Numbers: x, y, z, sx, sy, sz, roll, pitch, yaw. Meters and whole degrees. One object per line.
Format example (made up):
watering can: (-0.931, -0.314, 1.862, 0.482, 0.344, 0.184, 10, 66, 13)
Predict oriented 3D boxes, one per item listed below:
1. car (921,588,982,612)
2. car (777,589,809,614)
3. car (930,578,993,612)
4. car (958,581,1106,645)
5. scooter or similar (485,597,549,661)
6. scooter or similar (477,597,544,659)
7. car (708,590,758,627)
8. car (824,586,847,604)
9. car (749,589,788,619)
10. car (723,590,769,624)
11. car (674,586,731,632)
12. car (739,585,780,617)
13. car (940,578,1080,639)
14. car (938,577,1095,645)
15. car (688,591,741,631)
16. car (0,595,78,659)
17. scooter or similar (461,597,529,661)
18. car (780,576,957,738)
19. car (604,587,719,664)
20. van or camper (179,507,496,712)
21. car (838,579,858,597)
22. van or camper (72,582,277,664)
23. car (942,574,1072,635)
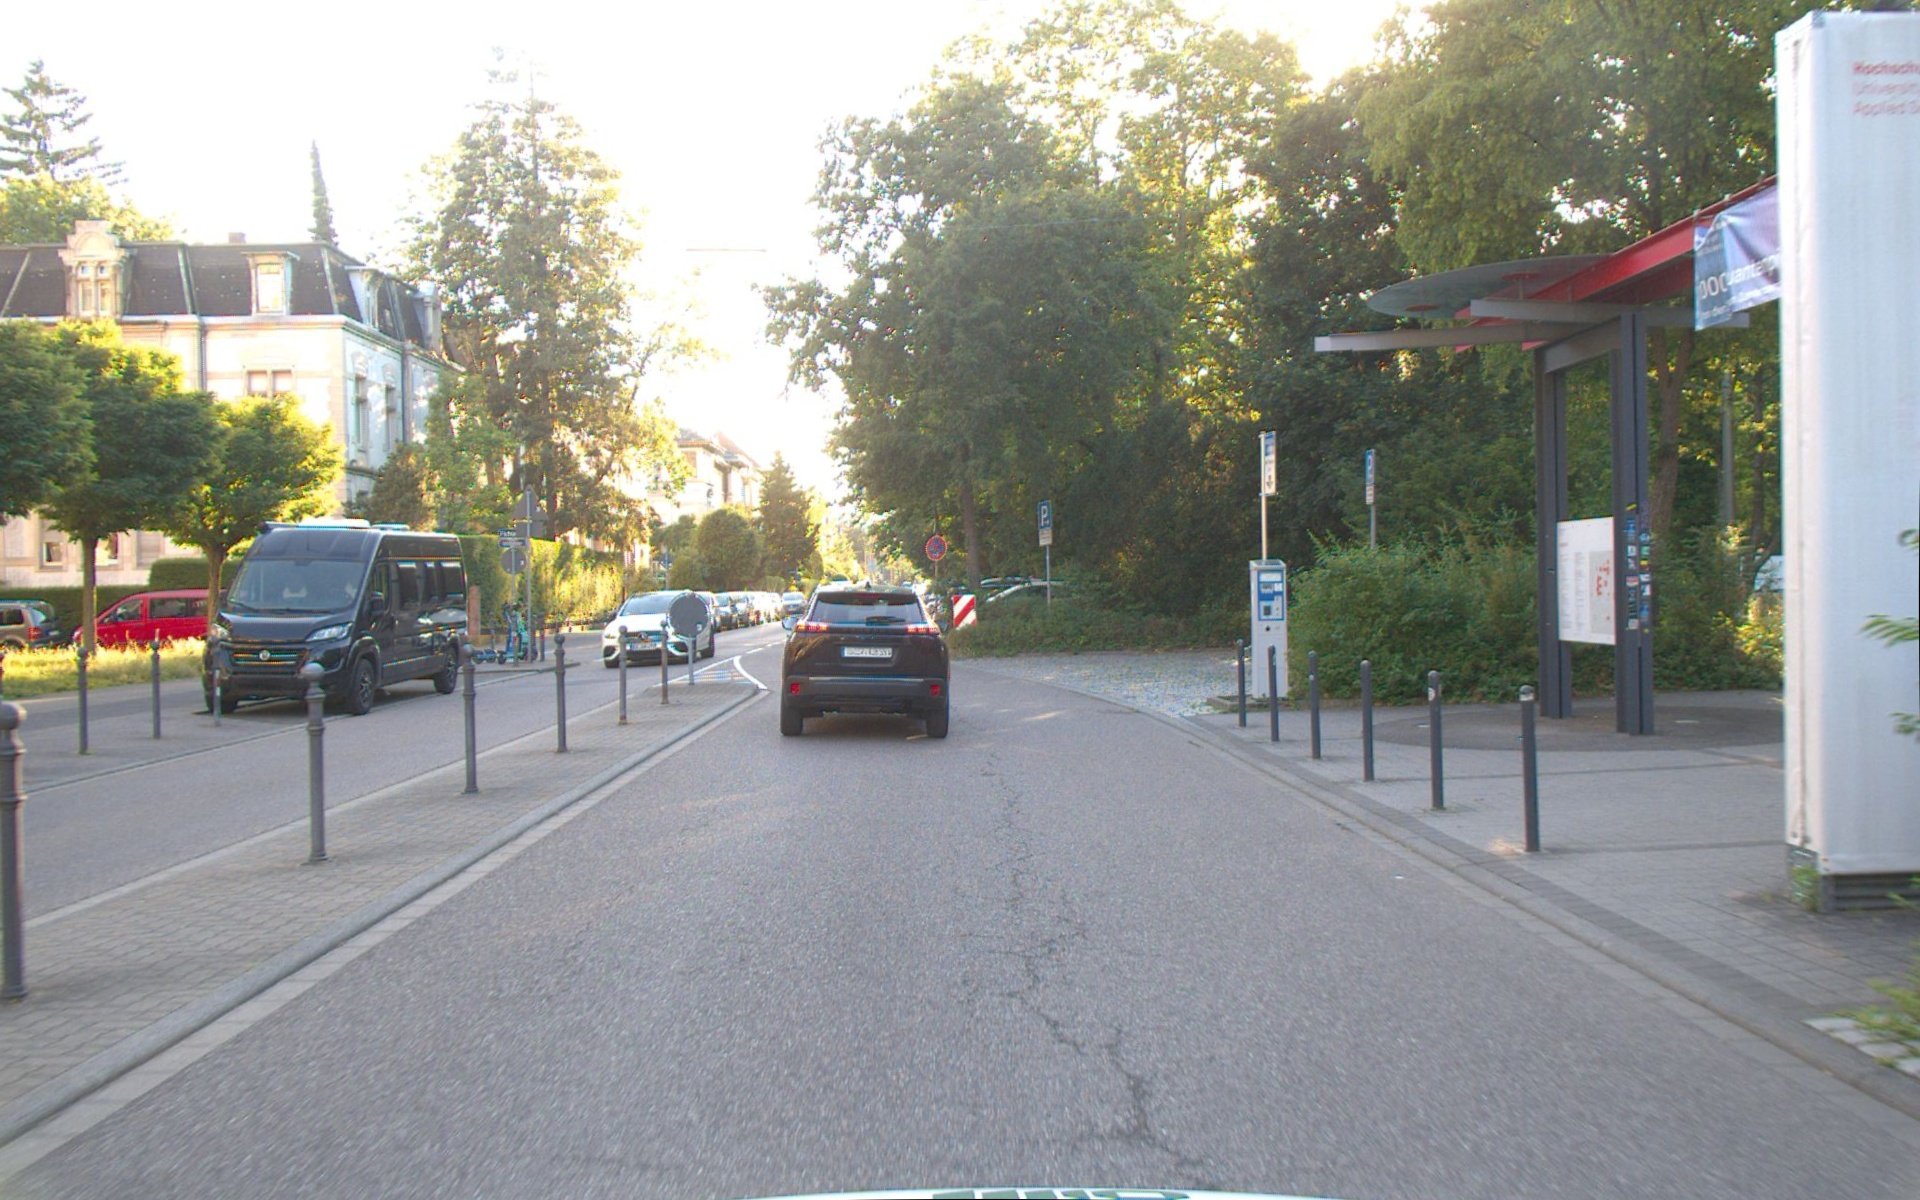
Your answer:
car: (-0.560, -0.011, 110.170, 3.910, 1.552, 1.756, -1, 0, -6)
car: (-10.340, 0.069, 102.370, 1.717, 1.438, 3.762, -3, 1, -3)
car: (0.101, -0.346, 107.420, 3.910, 2.126, 1.756, -1, 0, -6)
car: (1.922, 0.336, 45.034, 3.906, 1.581, 1.725, -2, 2, -2)
scooter or similar: (-9.284, 0.596, 34.658, 0.423, 1.297, 1.340, -1, 0, 34)
scooter or similar: (-9.696, 0.597, 35.704, 1.329, 1.297, 0.426, -1, 0, -37)
car: (-9.619, 0.338, 70.315, 1.581, 1.492, 4.035, -2, 0, -1)
car: (-11.126, -0.468, 148.136, 1.861, 1.601, 3.999, -1, 0, -2)
car: (-9.972, 0.180, 86.276, 1.581, 1.492, 4.035, -2, 0, -1)
car: (-9.807, 0.300, 76.085, 1.581, 1.492, 4.035, -2, 0, -1)
car: (-9.337, 0.307, 60.106, 1.582, 1.541, 3.710, -3, 0, -3)
car: (-9.879, 0.021, 81.660, 1.581, 1.492, 4.035, -2, 0, -1)
car: (1.393, 0.224, 47.592, 3.906, 1.581, 1.752, -2, 2, -2)
car: (1.411, 0.264, 42.491, 3.906, 1.581, 1.725, -2, 2, -2)
car: (-9.692, 0.420, 65.537, 1.581, 1.511, 3.740, -2, 0, -2)
car: (-27.120, 0.764, 46.155, 3.908, 1.703, 1.919, -1, 0, -4)
scooter or similar: (-9.841, 0.604, 35.012, 1.329, 1.297, 0.426, -1, 0, -37)
car: (-0.934, 0.529, 18.327, 1.735, 1.596, 4.108, 0, 1, -1)
car: (-6.249, 0.498, 35.084, 1.706, 1.483, 4.622, -2, 0, -2)
van or camper: (-8.868, 0.112, 24.464, 2.184, 2.589, 7.077, 0, 0, -2)
car: (-11.514, -1.235, 170.369, 1.953, 1.799, 3.999, -1, 0, -2)
van or camper: (-21.980, 0.621, 46.416, 4.670, 2.019, 2.001, -1, 5, 1)
car: (1.545, 0.135, 55.672, 4.221, 1.836, 2.035, -3, 0, -2)
